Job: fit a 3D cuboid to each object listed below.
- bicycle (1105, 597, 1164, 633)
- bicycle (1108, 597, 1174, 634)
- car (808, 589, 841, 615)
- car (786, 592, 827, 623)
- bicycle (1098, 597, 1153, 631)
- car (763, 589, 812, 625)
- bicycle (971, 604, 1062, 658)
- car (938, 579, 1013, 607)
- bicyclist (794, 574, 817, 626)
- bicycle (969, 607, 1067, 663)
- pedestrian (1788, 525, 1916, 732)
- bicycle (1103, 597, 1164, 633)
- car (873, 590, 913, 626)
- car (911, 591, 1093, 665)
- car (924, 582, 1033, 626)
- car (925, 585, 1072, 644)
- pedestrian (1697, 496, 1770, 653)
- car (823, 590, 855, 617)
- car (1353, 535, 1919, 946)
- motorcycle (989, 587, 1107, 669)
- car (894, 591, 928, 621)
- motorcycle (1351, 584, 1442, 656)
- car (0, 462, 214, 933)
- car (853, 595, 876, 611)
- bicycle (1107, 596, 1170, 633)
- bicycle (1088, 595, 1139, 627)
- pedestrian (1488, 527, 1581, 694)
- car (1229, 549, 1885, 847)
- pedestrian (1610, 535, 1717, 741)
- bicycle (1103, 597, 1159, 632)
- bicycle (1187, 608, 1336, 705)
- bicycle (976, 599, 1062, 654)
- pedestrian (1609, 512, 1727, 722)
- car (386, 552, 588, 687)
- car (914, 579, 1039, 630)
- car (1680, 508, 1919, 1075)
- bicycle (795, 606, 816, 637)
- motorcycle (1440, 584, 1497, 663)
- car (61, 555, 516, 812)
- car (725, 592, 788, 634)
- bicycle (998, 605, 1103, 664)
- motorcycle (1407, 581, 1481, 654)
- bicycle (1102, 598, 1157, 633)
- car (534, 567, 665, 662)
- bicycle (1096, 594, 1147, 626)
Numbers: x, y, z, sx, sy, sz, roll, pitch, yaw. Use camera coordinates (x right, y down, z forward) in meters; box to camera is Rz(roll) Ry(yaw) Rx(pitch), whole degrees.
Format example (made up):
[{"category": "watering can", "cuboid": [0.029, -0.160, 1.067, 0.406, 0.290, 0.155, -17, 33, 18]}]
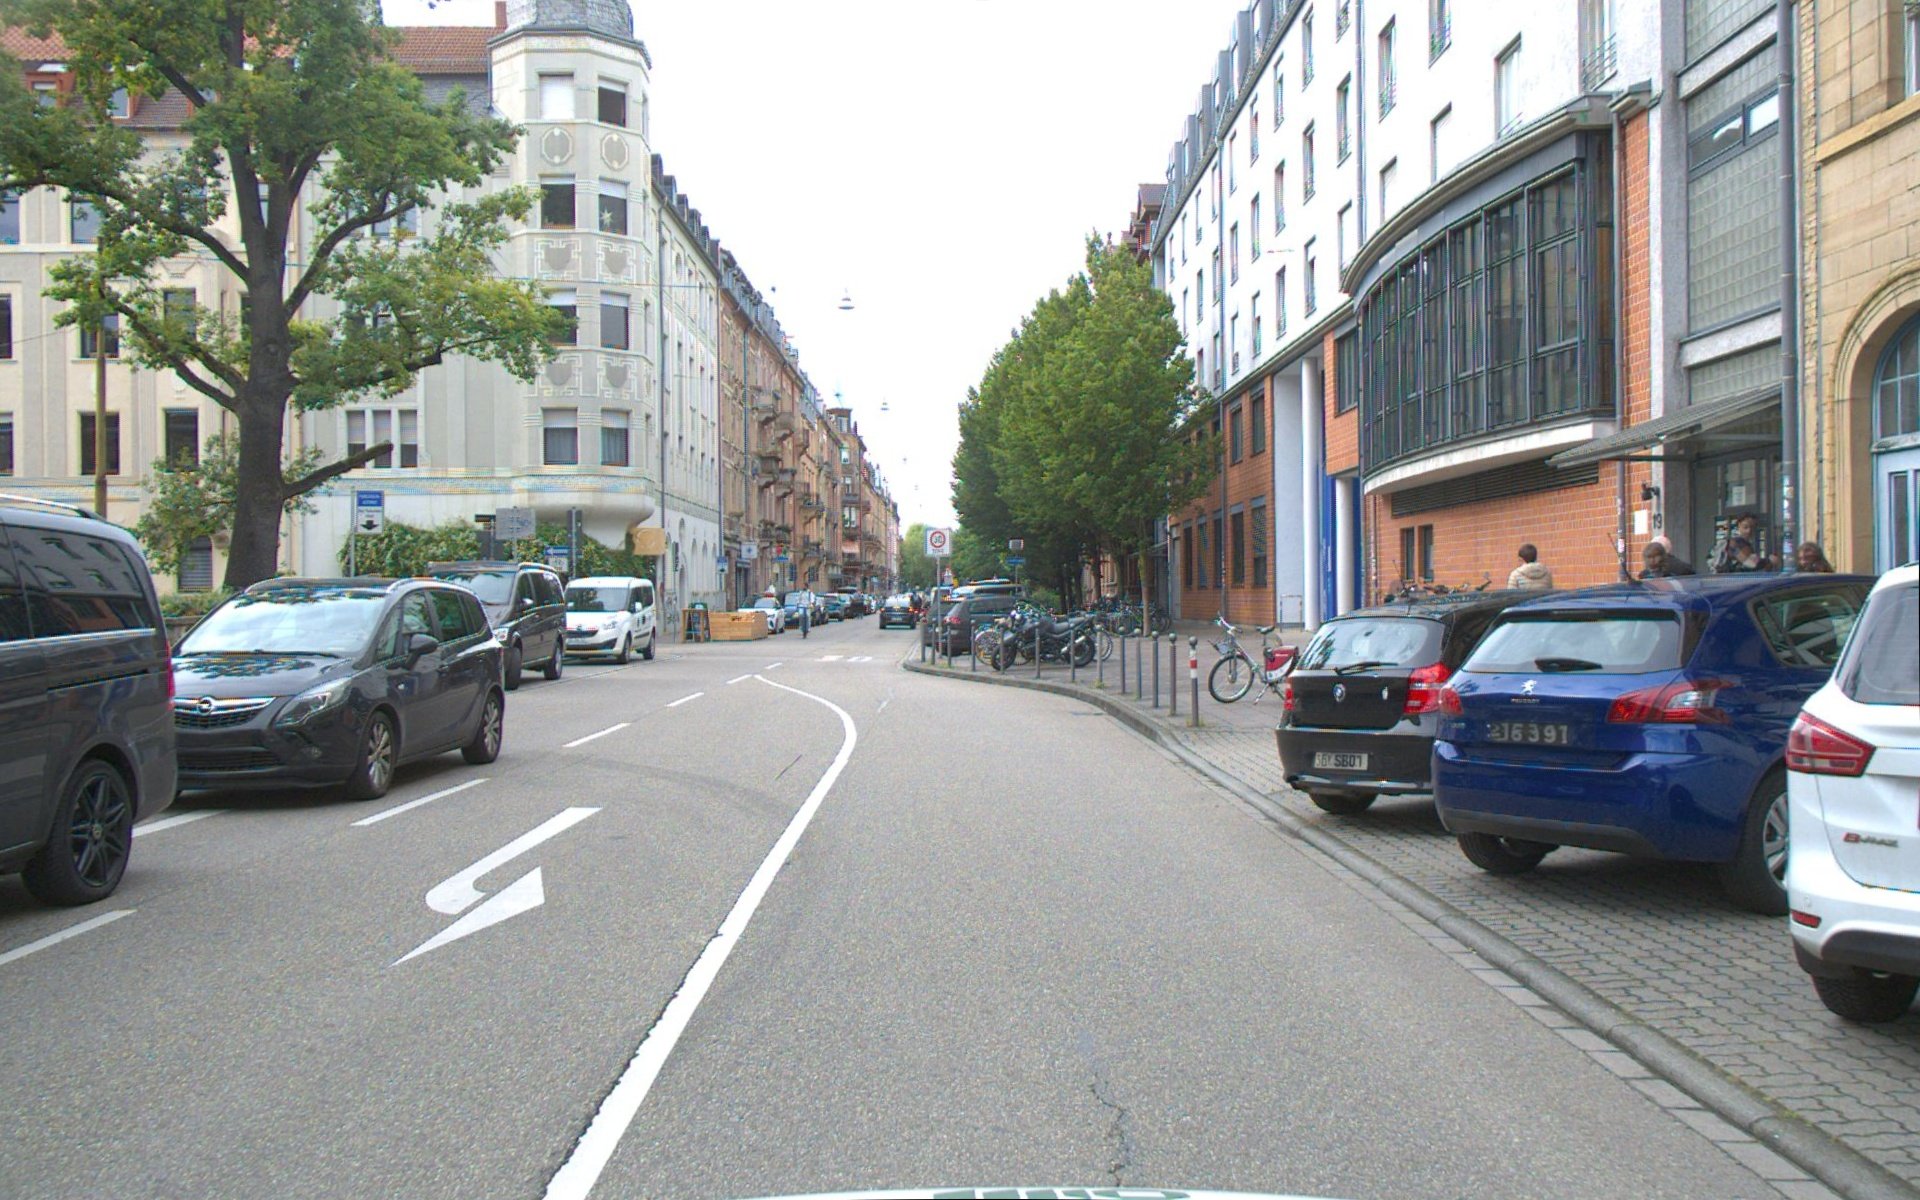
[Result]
[{"category": "bicycle", "cuboid": [5.460, 0.476, 51.837, 1.799, 1.111, 0.565, 0, -1, -1]}, {"category": "bicycle", "cuboid": [5.427, 0.459, 49.627, 1.893, 1.111, 0.577, 0, -1, -1]}, {"category": "car", "cuboid": [-8.685, 0.134, 106.237, 1.905, 1.645, 3.941, 1, 0, -1]}, {"category": "car", "cuboid": [-8.306, 0.405, 89.658, 1.905, 1.645, 3.941, 1, 0, -1]}, {"category": "bicycle", "cuboid": [5.387, 0.466, 53.856, 1.717, 1.111, 0.565, 0, -1, -1]}, {"category": "car", "cuboid": [-8.056, 0.334, 77.535, 1.904, 1.645, 3.942, 1, 0, 0]}, {"category": "bicycle", "cuboid": [1.177, 0.654, 34.801, 1.846, 1.061, 0.611, -2, -1, -4]}, {"category": "car", "cuboid": [1.136, -0.513, 122.766, 5.330, 1.900, 1.930, -1, 0, -31]}, {"category": "bicyclist", "cuboid": [-5.653, 0.000, 60.586, 0.766, 1.899, 0.714, 0, 0, 1]}, {"category": "bicycle", "cuboid": [1.162, 0.700, 33.165, 1.891, 1.061, 0.611, -2, -1, -4]}, {"category": "pedestrian", "cuboid": [6.875, 0.218, 12.767, 0.508, 1.536, 0.716, -2, -1, -4]}, {"category": "bicycle", "cuboid": [5.353, 0.470, 51.041, 1.799, 1.111, 0.542, 0, -1, -1]}, {"category": "car", "cuboid": [-3.271, 0.422, 81.389, 1.953, 1.710, 3.998, 0, -1, -2]}, {"category": "car", "cuboid": [1.072, 0.671, 41.130, 4.236, 1.606, 1.841, -3, 0, -34]}, {"category": "car", "cuboid": [0.948, 0.190, 82.864, 5.341, 2.027, 1.927, -1, 0, -35]}, {"category": "car", "cuboid": [1.172, 0.434, 49.365, 4.008, 1.612, 1.883, -1, -1, -32]}, {"category": "pedestrian", "cuboid": [8.634, -0.273, 18.473, 0.497, 1.719, 0.628, 0, -1, -1]}, {"category": "car", "cuboid": [-8.106, 0.260, 111.097, 1.904, 1.772, 3.942, 1, 0, 0]}, {"category": "car", "cuboid": [4.204, 0.516, 8.602, 3.946, 1.560, 1.913, -4, 2, -30]}, {"category": "motorcycle", "cuboid": [1.643, 0.531, 31.052, 2.092, 1.454, 0.770, -2, -1, -4]}, {"category": "car", "cuboid": [-2.823, 0.366, 95.246, 1.953, 1.710, 3.998, 0, -1, -2]}, {"category": "motorcycle", "cuboid": [7.912, 0.342, 30.080, 1.007, 1.223, 2.208, -2, 0, -1]}, {"category": "car", "cuboid": [-4.992, 0.417, 6.339, 1.873, 1.989, 5.283, 0, 0, 0]}, {"category": "car", "cuboid": [-8.292, 0.284, 143.634, 1.954, 1.344, 3.996, 0, -1, -4]}, {"category": "bicycle", "cuboid": [5.416, 0.450, 50.233, 1.856, 1.111, 0.542, 0, -1, -1]}, {"category": "bicycle", "cuboid": [5.393, 0.374, 58.088, 1.717, 1.111, 0.565, 0, -1, -1]}, {"category": "pedestrian", "cuboid": [6.375, 0.110, 18.378, 0.617, 1.784, 0.811, -3, 0, -4]}, {"category": "car", "cuboid": [4.066, 0.539, 11.182, 4.194, 1.504, 1.671, -4, 2, -25]}, {"category": "pedestrian", "cuboid": [5.990, 0.318, 14.102, 0.508, 1.691, 0.716, -2, -1, -4]}, {"category": "bicycle", "cuboid": [5.421, 0.455, 52.467, 1.717, 1.111, 0.565, 0, -1, -1]}, {"category": "bicycle", "cuboid": [3.711, 0.683, 20.438, 0.724, 1.123, 1.710, -2, 0, -41]}, {"category": "bicycle", "cuboid": [1.311, 0.587, 36.899, 1.846, 1.161, 0.611, -2, -1, -4]}, {"category": "pedestrian", "cuboid": [6.383, 0.155, 14.945, 0.654, 1.830, 0.716, -2, -1, -4]}, {"category": "car", "cuboid": [-7.769, 0.290, 27.722, 1.972, 2.049, 5.182, 0, 0, -1]}, {"category": "car", "cuboid": [0.793, 0.178, 74.764, 5.560, 2.164, 1.927, -1, 0, -35]}, {"category": "car", "cuboid": [4.372, 0.435, 5.894, 3.965, 1.629, 1.740, -5, 2, -41]}, {"category": "bicycle", "cuboid": [-5.627, 0.773, 60.216, 0.556, 1.106, 1.987, 0, 0, 1]}, {"category": "motorcycle", "cuboid": [7.888, 0.350, 25.623, 0.589, 1.164, 1.881, -2, 0, 24]}, {"category": "car", "cuboid": [-5.100, 0.540, 13.334, 1.807, 1.713, 4.548, 0, 0, 0]}, {"category": "car", "cuboid": [-8.113, 0.495, 66.192, 1.904, 1.580, 3.818, -1, 0, 2]}, {"category": "bicycle", "cuboid": [1.760, 0.677, 32.389, 1.969, 1.081, 0.611, -2, -1, -4]}, {"category": "motorcycle", "cuboid": [8.108, 0.284, 27.795, 0.589, 1.164, 2.070, -1, 0, 0]}, {"category": "bicycle", "cuboid": [5.447, 0.497, 53.250, 1.717, 1.111, 0.565, 0, -1, -1]}, {"category": "car", "cuboid": [-7.950, 0.288, 36.877, 1.805, 1.973, 4.549, 0, 0, 1]}, {"category": "bicycle", "cuboid": [5.613, 0.361, 57.429, 1.717, 1.111, 0.565, 0, -1, -1]}]
